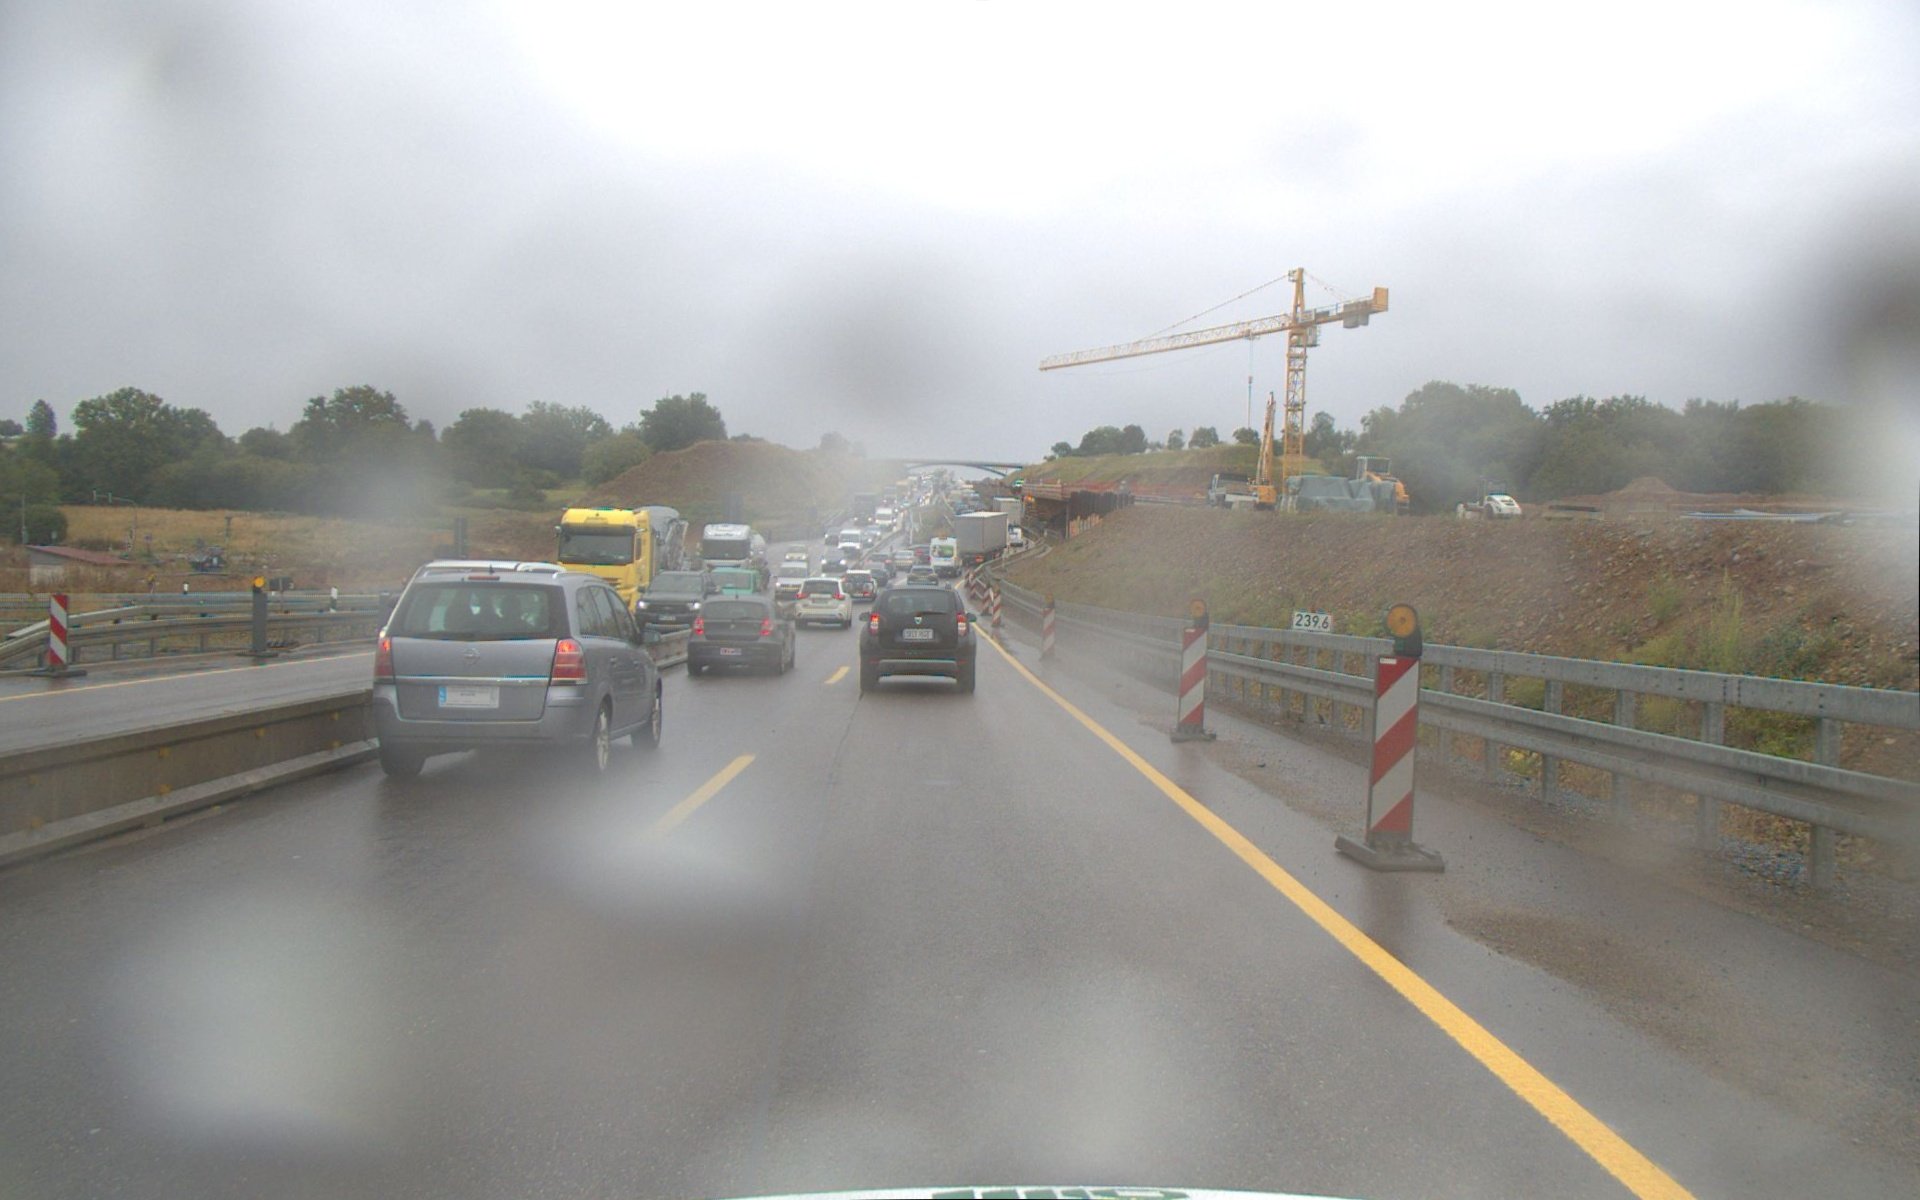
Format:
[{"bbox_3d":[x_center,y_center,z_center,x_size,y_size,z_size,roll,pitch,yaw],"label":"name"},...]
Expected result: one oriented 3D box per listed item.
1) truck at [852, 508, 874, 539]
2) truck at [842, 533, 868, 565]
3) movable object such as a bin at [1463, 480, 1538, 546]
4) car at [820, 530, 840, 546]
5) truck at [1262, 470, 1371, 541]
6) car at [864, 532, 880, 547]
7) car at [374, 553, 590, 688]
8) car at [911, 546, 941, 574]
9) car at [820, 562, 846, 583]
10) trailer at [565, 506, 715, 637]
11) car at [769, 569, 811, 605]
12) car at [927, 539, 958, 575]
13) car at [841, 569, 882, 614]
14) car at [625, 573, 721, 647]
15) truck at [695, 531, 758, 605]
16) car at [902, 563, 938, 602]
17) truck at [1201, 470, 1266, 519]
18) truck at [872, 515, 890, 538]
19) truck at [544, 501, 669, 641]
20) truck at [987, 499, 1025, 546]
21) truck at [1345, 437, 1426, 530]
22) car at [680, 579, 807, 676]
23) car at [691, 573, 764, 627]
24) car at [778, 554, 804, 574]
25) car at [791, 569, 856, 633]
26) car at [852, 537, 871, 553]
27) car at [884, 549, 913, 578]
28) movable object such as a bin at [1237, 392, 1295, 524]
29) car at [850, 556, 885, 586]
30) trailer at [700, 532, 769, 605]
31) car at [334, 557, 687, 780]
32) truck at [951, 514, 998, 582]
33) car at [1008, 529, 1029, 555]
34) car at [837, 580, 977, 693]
[{"bbox_3d":[-12.833,-10.170,219.273,2.588,4.038,9.212,1,3,-2],"label":"truck"},{"bbox_3d":[-9.297,-4.509,146.720,2.037,2.621,5.960,1,0,-2],"label":"truck"},{"bbox_3d":[32.531,-5.197,99.833,2.293,3.662,6.560,1,0,-1],"label":"movable object such as a bin"},{"bbox_3d":[-13.335,-6.353,169.863,1.751,1.565,4.311,1,1,-2],"label":"car"},{"bbox_3d":[17.150,-4.490,80.260,3.326,2.925,8.960,1,0,0],"label":"truck"},{"bbox_3d":[-9.594,-6.544,179.684,1.643,1.550,4.344,1,2,-2],"label":"car"},{"bbox_3d":[-7.107,0.267,25.206,1.837,1.824,5.358,1,0,-2],"label":"car"},{"bbox_3d":[-2.868,-3.357,139.824,1.951,2.200,4.144,1,0,8],"label":"car"},{"bbox_3d":[-9.613,-2.106,125.171,1.737,1.530,4.678,1,1,-2],"label":"car"},{"bbox_3d":[-11.234,-0.967,59.889,2.694,4.112,15.355,1,0,-1],"label":"trailer"},{"bbox_3d":[-8.798,-0.686,85.903,1.828,1.831,4.161,1,1,-2],"label":"car"},{"bbox_3d":[-1.247,-3.077,119.715,1.952,2.527,4.983,1,0,2],"label":"car"},{"bbox_3d":[-5.004,-0.447,83.363,1.954,2.200,4.137,1,0,-5],"label":"car"},{"bbox_3d":[-7.544,0.225,43.960,1.751,1.837,5.188,0,0,-1],"label":"car"},{"bbox_3d":[-12.296,-1.667,87.616,2.567,3.741,6.593,1,1,-2],"label":"truck"},{"bbox_3d":[-2.302,-0.999,95.416,1.953,2.200,4.140,1,0,-1],"label":"car"},{"bbox_3d":[16.873,-6.498,102.382,2.592,2.599,6.982,1,0,-2],"label":"truck"},{"bbox_3d":[-9.590,-8.950,201.836,2.104,2.760,6.015,1,2,-2],"label":"truck"},{"bbox_3d":[-11.088,-0.886,52.420,2.694,4.133,6.146,1,0,-1],"label":"truck"},{"bbox_3d":[5.508,-9.242,199.160,3.727,5.130,12.917,1,0,-2],"label":"truck"},{"bbox_3d":[21.650,-5.860,84.397,2.325,4.292,5.977,1,0,-2],"label":"truck"},{"bbox_3d":[-3.914,0.456,30.537,1.954,1.628,4.138,1,0,-3],"label":"car"},{"bbox_3d":[-8.101,-0.025,57.917,1.953,1.789,4.687,1,1,-1],"label":"car"},{"bbox_3d":[-13.440,-2.858,131.591,1.752,1.573,3.999,1,1,-2],"label":"car"},{"bbox_3d":[-4.553,0.011,55.495,1.953,2.049,3.892,1,0,-2],"label":"car"},{"bbox_3d":[-9.823,-5.505,165.703,1.751,1.565,4.311,1,1,-2],"label":"car"},{"bbox_3d":[-4.760,-2.838,129.076,1.952,2.200,4.141,1,0,1],"label":"car"},{"bbox_3d":[27.803,-12.665,149.763,4.618,11.031,10.312,1,0,13],"label":"movable object such as a bin"},{"bbox_3d":[-5.811,-1.812,104.359,1.953,1.792,3.814,1,0,-1],"label":"car"},{"bbox_3d":[-12.522,-1.715,92.624,2.567,3.741,11.999,1,1,-2],"label":"trailer"},{"bbox_3d":[-3.688,0.495,14.384,1.953,1.628,4.140,1,0,-1],"label":"car"},{"bbox_3d":[1.293,-4.305,139.638,3.036,5.520,9.450,1,0,6],"label":"truck"},{"bbox_3d":[6.042,-6.015,172.416,1.953,2.527,4.741,1,0,0],"label":"car"},{"bbox_3d":[-0.813,0.521,26.507,2.039,1.628,4.140,1,0,-1],"label":"car"}]
